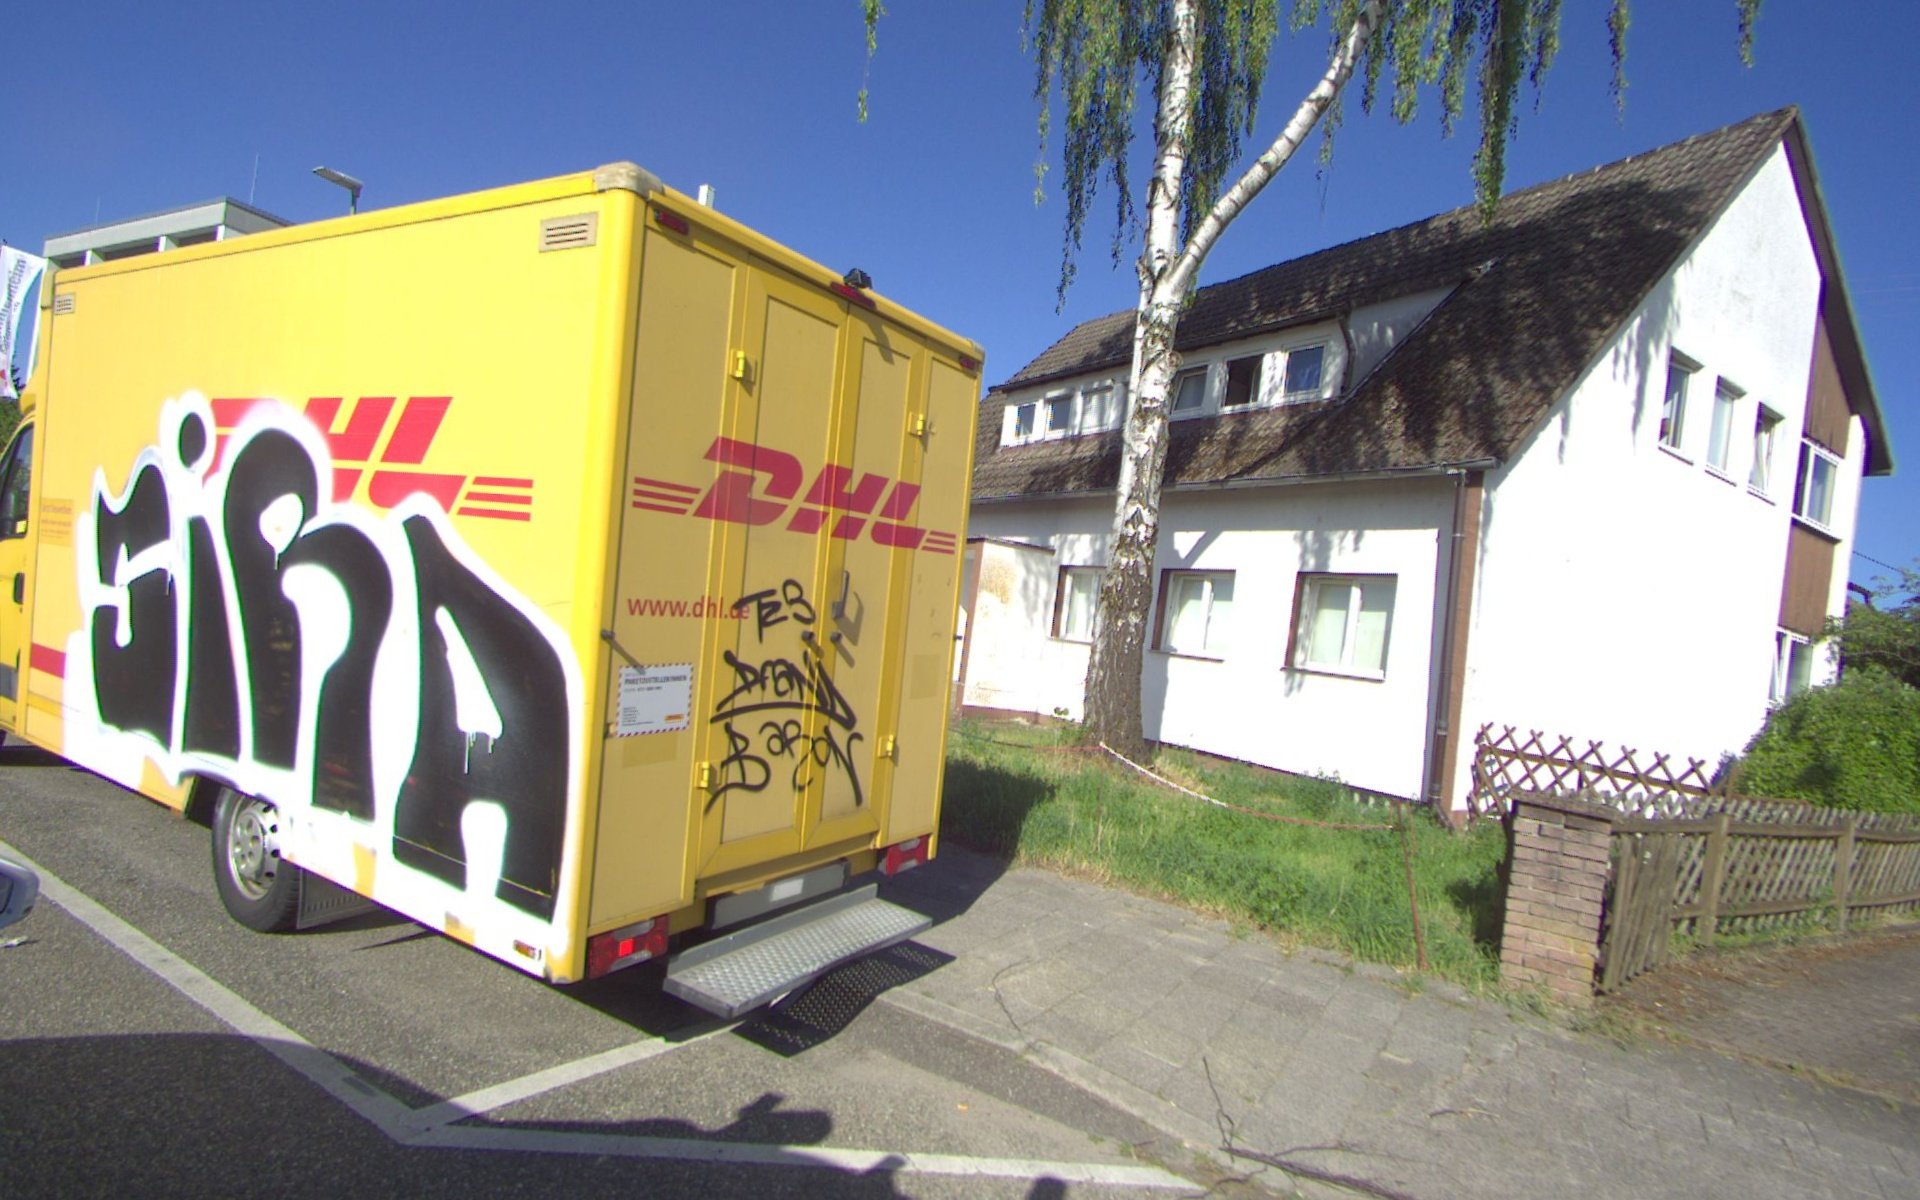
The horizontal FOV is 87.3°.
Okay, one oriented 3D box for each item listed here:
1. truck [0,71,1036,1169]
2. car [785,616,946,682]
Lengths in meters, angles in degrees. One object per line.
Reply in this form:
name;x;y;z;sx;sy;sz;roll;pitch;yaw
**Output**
truck;-3.334;-0.182;5.547;6.900;2.973;2.405;7;0;32
car;-2.832;1.431;29.691;4.557;1.454;1.718;4;-4;33
